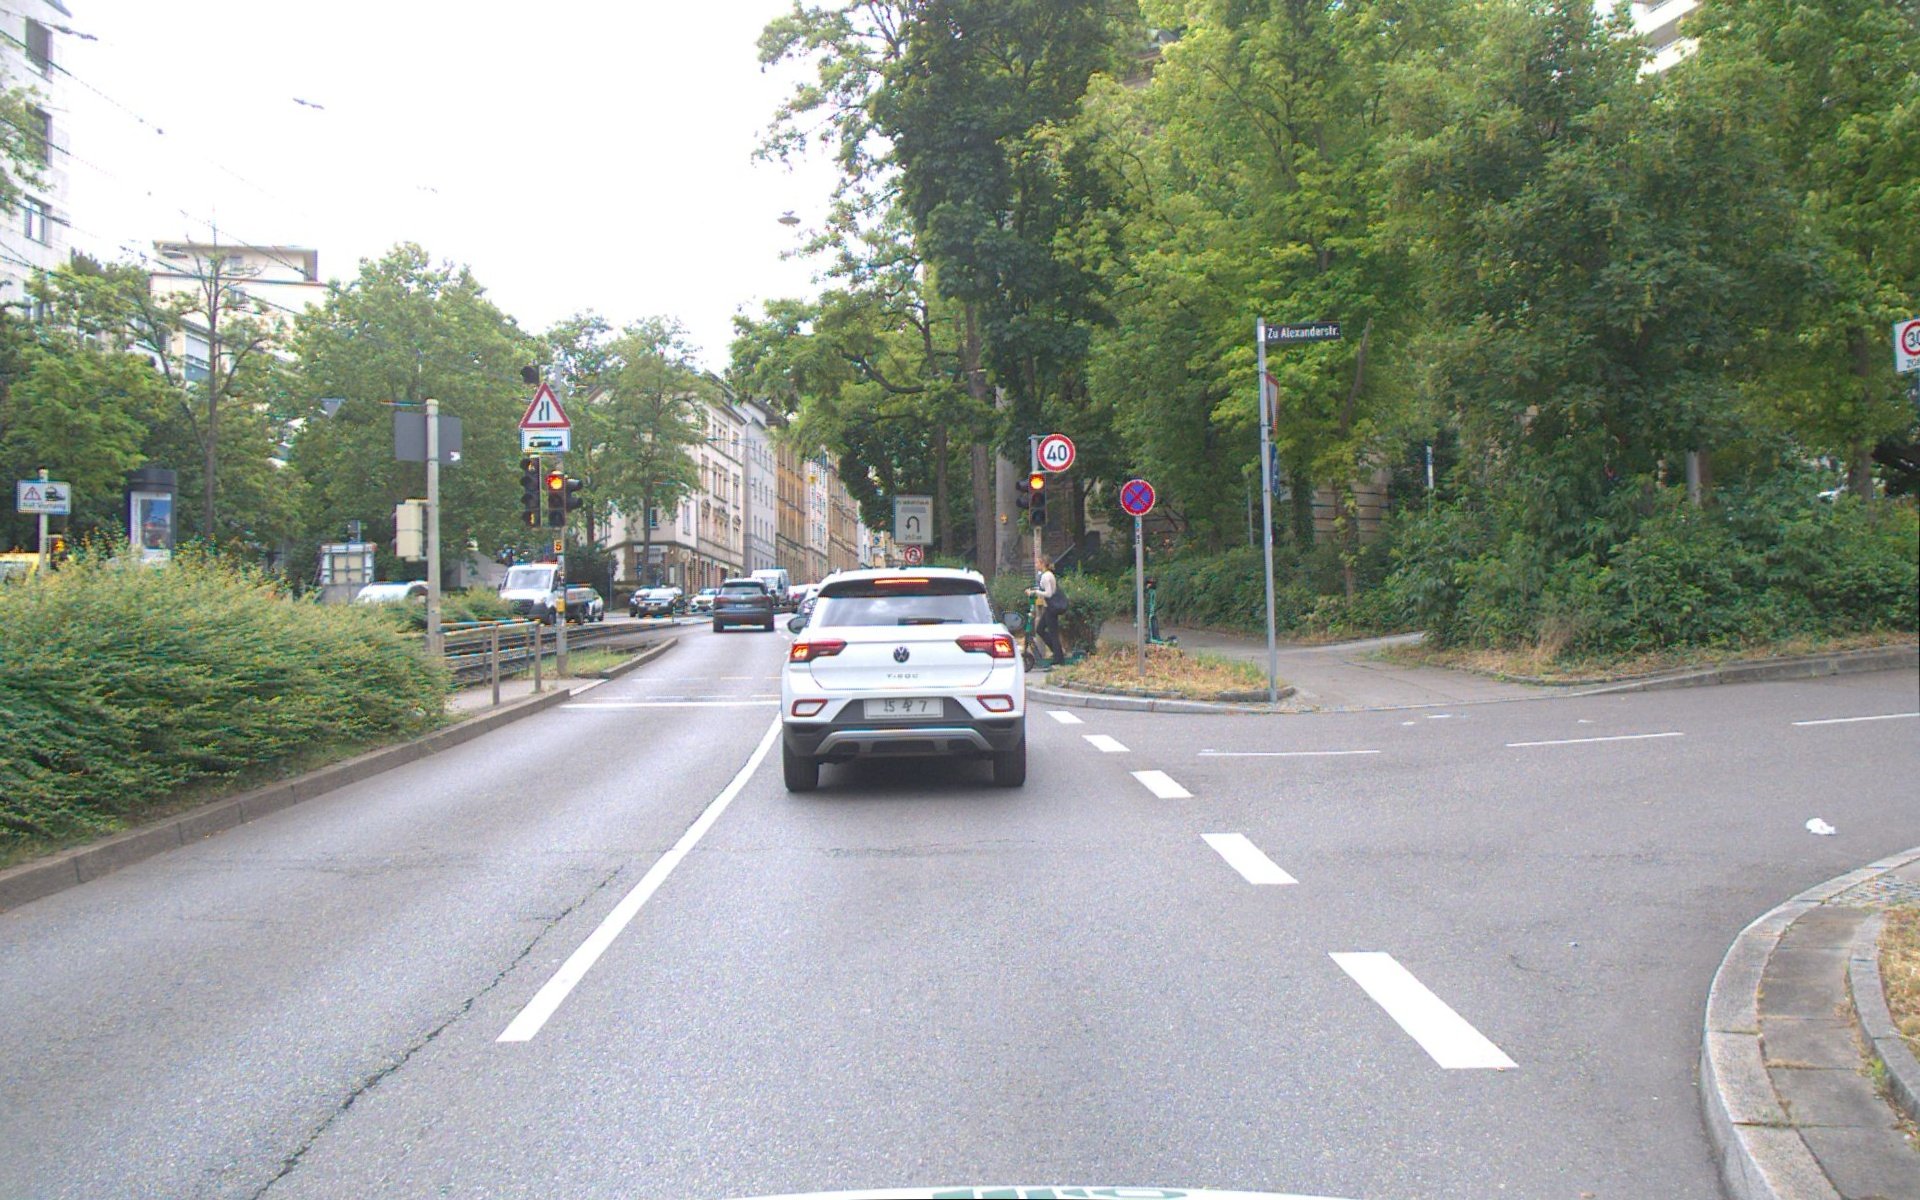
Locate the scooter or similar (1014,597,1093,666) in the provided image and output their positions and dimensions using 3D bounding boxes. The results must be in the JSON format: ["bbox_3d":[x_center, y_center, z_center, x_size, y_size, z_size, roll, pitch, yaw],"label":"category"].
[{"bbox_3d":[1.442,0.482,25.481,1.162,1.011,0.532,-2,0,3],"label":"scooter or similar"}]

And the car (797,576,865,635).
[{"bbox_3d":[-3.832,0.198,49.716,1.865,1.602,3.832,2,-2,-3],"label":"car"}]

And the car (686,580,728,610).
[{"bbox_3d":[-15.426,-0.291,100.932,1.953,1.652,3.998,1,-2,-1],"label":"car"}]

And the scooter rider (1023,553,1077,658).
[{"bbox_3d":[1.390,0.081,25.478,0.761,1.585,0.532,-2,0,3],"label":"scooter rider"}]

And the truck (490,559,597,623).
[{"bbox_3d":[-15.281,-0.332,61.113,2.372,2.207,6.033,1,0,0],"label":"truck"}]

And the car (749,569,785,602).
[{"bbox_3d":[-12.643,-0.974,108.510,1.953,2.049,3.999,-2,1,-1],"label":"car"}]

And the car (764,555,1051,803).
[{"bbox_3d":[-0.343,0.472,13.050,1.898,1.593,4.047,1,2,0],"label":"car"}]

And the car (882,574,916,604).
[{"bbox_3d":[-4.750,-0.887,129.965,2.372,2.207,6.033,-2,1,0],"label":"car"}]

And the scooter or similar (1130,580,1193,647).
[{"bbox_3d":[3.453,0.227,28.444,0.467,1.119,1.360,-2,1,-21],"label":"scooter or similar"}]

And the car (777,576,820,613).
[{"bbox_3d":[-8.129,-0.300,83.563,1.790,1.788,3.779,-2,1,-1],"label":"car"}]

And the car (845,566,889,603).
[{"bbox_3d":[-5.866,-0.985,104.998,2.372,2.207,6.033,-2,1,0],"label":"car"}]

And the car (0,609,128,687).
[{"bbox_3d":[-17.151,0.863,30.499,1.705,1.346,4.064,-1,-1,-3],"label":"car"}]

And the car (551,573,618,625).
[{"bbox_3d":[-16.074,0.005,70.961,1.953,2.049,3.999,1,-2,-1],"label":"car"}]

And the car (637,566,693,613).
[{"bbox_3d":[-14.024,-0.484,78.697,1.953,2.049,3.998,1,-2,-1],"label":"car"}]

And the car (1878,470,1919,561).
[{"bbox_3d":[23.884,-2.015,38.452,4.053,2.049,1.996,-2,0,-9],"label":"car"}]

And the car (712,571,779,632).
[{"bbox_3d":[-6.844,0.018,53.047,1.803,1.770,3.998,-2,2,-4],"label":"car"}]
